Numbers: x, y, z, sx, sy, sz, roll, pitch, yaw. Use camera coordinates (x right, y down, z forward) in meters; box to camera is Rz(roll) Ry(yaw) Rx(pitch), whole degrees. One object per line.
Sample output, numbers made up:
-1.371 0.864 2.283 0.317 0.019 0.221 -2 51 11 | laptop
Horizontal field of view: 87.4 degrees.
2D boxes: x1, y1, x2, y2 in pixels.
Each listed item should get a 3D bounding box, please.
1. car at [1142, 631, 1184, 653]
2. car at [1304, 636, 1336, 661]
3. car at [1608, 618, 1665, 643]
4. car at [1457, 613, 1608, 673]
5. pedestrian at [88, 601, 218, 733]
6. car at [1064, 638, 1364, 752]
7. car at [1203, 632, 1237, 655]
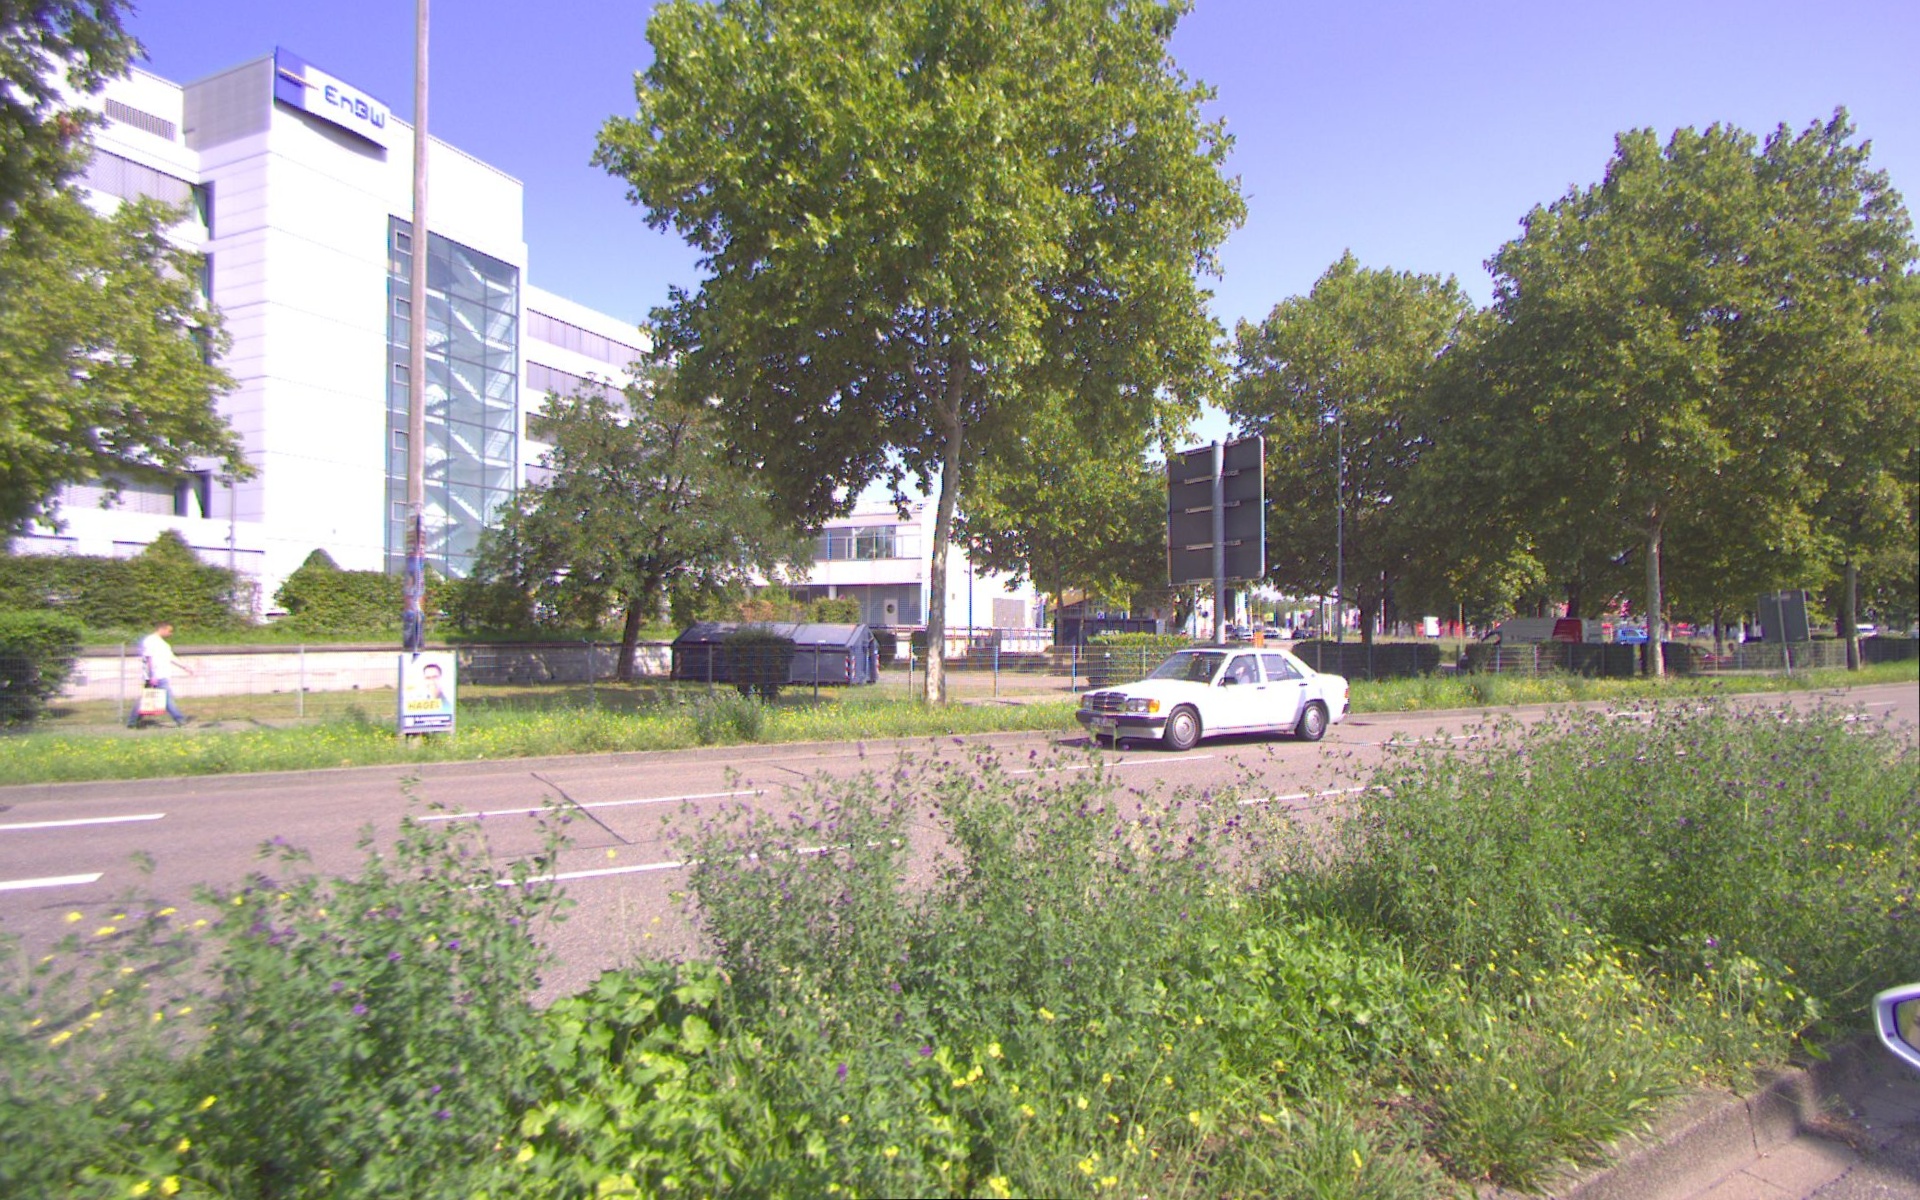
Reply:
20.735 4.285 102.552 3.924 2.041 1.998 -1 1 24 | car
25.915 3.467 72.231 1.895 1.472 3.997 -1 1 23 | car
59.197 2.639 88.007 3.927 2.041 1.997 0 1 29 | car
25.711 1.857 45.348 2.253 2.369 5.553 -2 1 -32 | car
-13.076 1.044 16.320 0.995 2.040 1.269 -1 1 11 | pedestrian
3.800 1.305 14.805 4.362 1.435 1.786 1 -4 -32 | car
19.751 3.283 76.253 1.895 1.472 3.997 -1 1 23 | car
